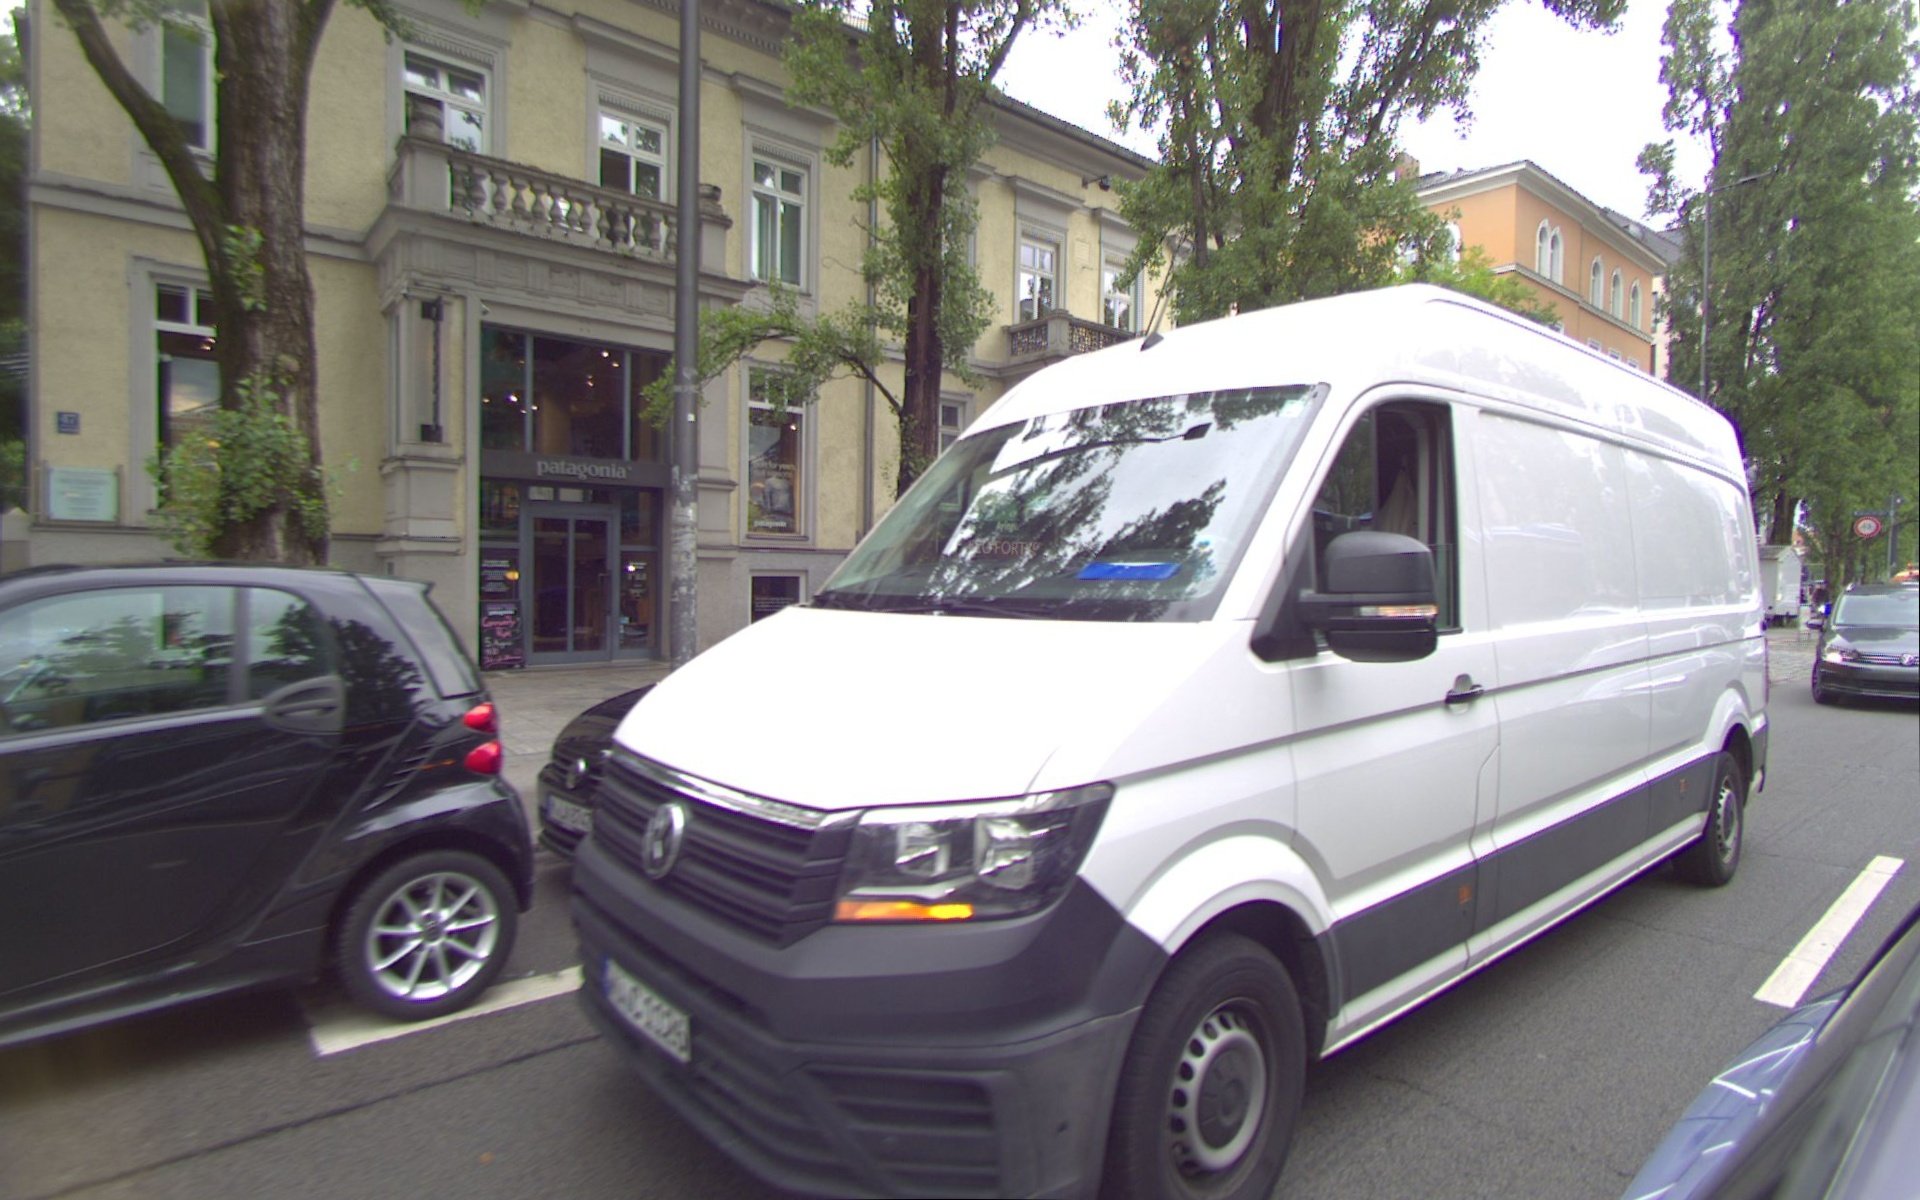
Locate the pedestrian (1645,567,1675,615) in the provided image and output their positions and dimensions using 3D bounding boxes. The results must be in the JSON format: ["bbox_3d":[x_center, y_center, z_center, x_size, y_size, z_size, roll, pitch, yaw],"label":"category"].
[{"bbox_3d":[29.135,-0.374,42.125,0.788,1.973,0.839,-1,0,-42],"label":"pedestrian"}]

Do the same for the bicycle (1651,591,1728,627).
[{"bbox_3d":[23.637,0.277,32.829,0.551,1.098,1.945,0,2,-39],"label":"bicycle"}]

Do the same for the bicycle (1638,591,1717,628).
[{"bbox_3d":[22.631,0.269,31.961,0.551,1.089,1.945,0,2,-39],"label":"bicycle"}]

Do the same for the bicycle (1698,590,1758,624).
[{"bbox_3d":[26.115,0.234,34.431,1.588,1.098,0.339,2,1,28],"label":"bicycle"}]

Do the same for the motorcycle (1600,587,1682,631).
[{"bbox_3d":[20.281,0.256,30.175,1.939,1.236,0.510,1,1,25],"label":"motorcycle"}]

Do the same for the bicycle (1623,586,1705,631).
[{"bbox_3d":[21.212,0.234,30.540,0.551,1.255,1.945,0,2,-39],"label":"bicycle"}]

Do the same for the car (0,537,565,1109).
[{"bbox_3d":[-2.973,0.592,3.433,2.682,1.537,1.594,0,0,-41],"label":"car"}]

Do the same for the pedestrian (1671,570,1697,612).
[{"bbox_3d":[29.894,-0.372,41.800,0.759,1.682,0.744,-1,0,-45],"label":"pedestrian"}]

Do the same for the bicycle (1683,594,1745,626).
[{"bbox_3d":[24.963,0.319,33.527,1.597,1.022,0.337,2,2,43],"label":"bicycle"}]

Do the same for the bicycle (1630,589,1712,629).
[{"bbox_3d":[21.709,0.251,30.931,0.551,1.151,1.945,0,2,-39],"label":"bicycle"}]

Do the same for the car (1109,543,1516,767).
[{"bbox_3d":[3.512,0.374,9.617,4.371,1.658,1.805,-1,1,-42],"label":"car"}]

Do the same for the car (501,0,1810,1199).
[{"bbox_3d":[1.744,0.130,4.508,6.611,2.524,2.067,0,1,-41],"label":"car"}]

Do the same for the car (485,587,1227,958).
[{"bbox_3d":[-0.291,0.634,6.000,4.273,1.411,1.710,-1,1,-45],"label":"car"}]

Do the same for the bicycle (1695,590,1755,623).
[{"bbox_3d":[26.256,0.220,34.766,1.593,1.098,0.319,2,1,28],"label":"bicycle"}]

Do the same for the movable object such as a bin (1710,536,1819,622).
[{"bbox_3d":[31.814,-0.862,39.986,4.463,3.175,2.445,0,3,-40],"label":"movable object such as a bin"}]

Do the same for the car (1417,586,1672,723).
[{"bbox_3d":[7.440,0.556,12.741,3.884,1.434,1.696,0,2,-43],"label":"car"}]

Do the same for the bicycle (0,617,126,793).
[{"bbox_3d":[-5.987,0.642,5.973,0.504,1.006,1.616,1,1,21],"label":"bicycle"}]

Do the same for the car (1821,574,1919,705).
[{"bbox_3d":[13.180,0.470,13.929,1.877,1.611,4.128,1,1,43],"label":"car"}]

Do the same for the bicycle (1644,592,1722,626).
[{"bbox_3d":[23.082,0.278,32.347,0.551,1.022,1.945,0,2,-39],"label":"bicycle"}]

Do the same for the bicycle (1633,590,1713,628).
[{"bbox_3d":[22.125,0.261,31.429,0.551,1.102,1.945,0,2,-39],"label":"bicycle"}]

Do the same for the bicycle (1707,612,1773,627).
[{"bbox_3d":[25.867,0.638,33.583,1.671,0.378,0.818,4,3,42],"label":"bicycle"}]

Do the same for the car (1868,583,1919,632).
[{"bbox_3d":[32.347,0.232,34.354,4.421,1.572,1.787,0,1,-42],"label":"car"}]

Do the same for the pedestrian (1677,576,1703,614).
[{"bbox_3d":[31.104,-0.216,43.107,0.603,1.590,0.746,-1,0,-38],"label":"pedestrian"}]
